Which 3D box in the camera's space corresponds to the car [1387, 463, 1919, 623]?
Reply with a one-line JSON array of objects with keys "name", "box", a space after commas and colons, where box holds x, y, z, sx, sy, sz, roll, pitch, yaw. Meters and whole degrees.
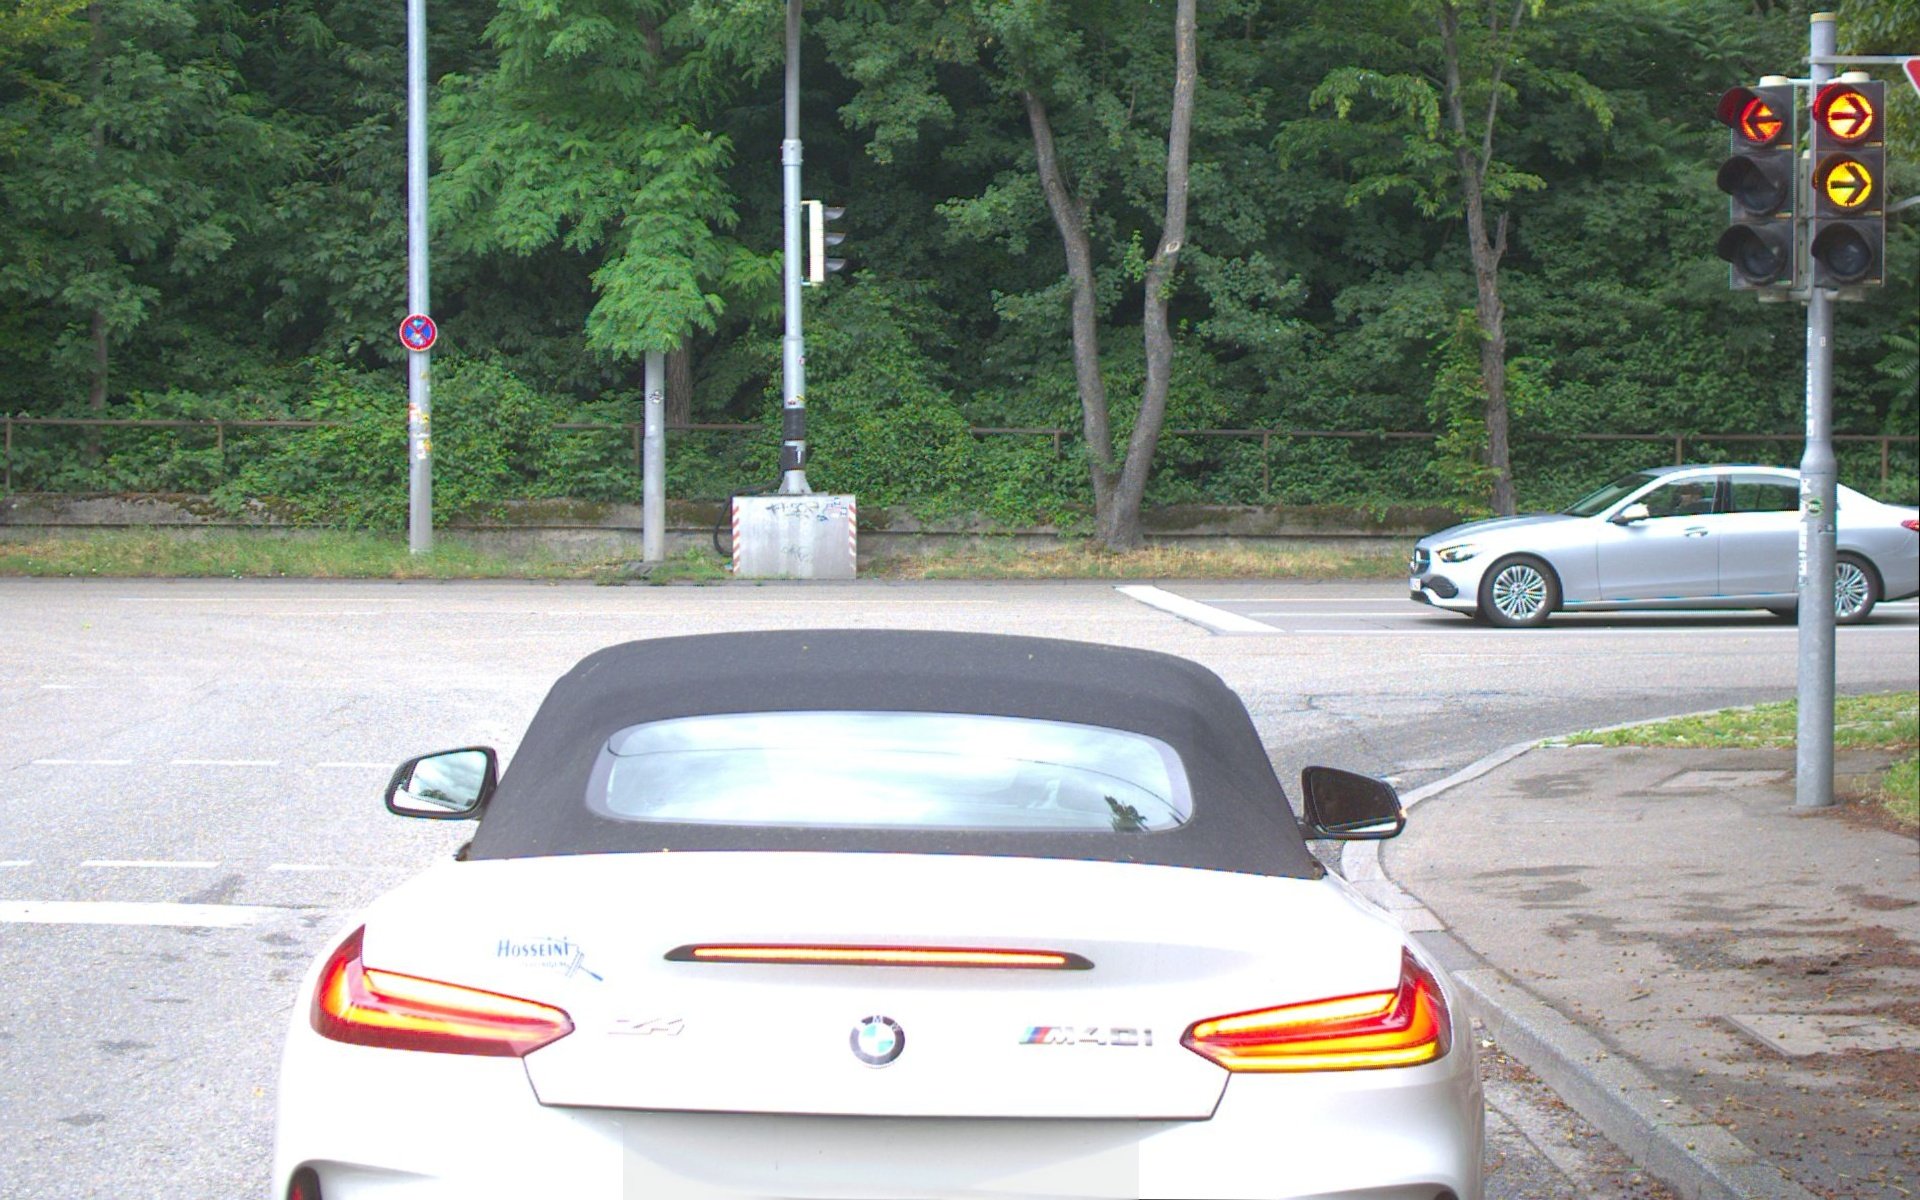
[{"name": "car", "box": [6.388, -0.530, 31.027, 4.751, 1.329, 1.834, 0, 3, -3]}]

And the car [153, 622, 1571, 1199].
[{"name": "car", "box": [-0.220, 0.694, 6.472, 1.827, 1.253, 4.000, 2, 0, -3]}]
